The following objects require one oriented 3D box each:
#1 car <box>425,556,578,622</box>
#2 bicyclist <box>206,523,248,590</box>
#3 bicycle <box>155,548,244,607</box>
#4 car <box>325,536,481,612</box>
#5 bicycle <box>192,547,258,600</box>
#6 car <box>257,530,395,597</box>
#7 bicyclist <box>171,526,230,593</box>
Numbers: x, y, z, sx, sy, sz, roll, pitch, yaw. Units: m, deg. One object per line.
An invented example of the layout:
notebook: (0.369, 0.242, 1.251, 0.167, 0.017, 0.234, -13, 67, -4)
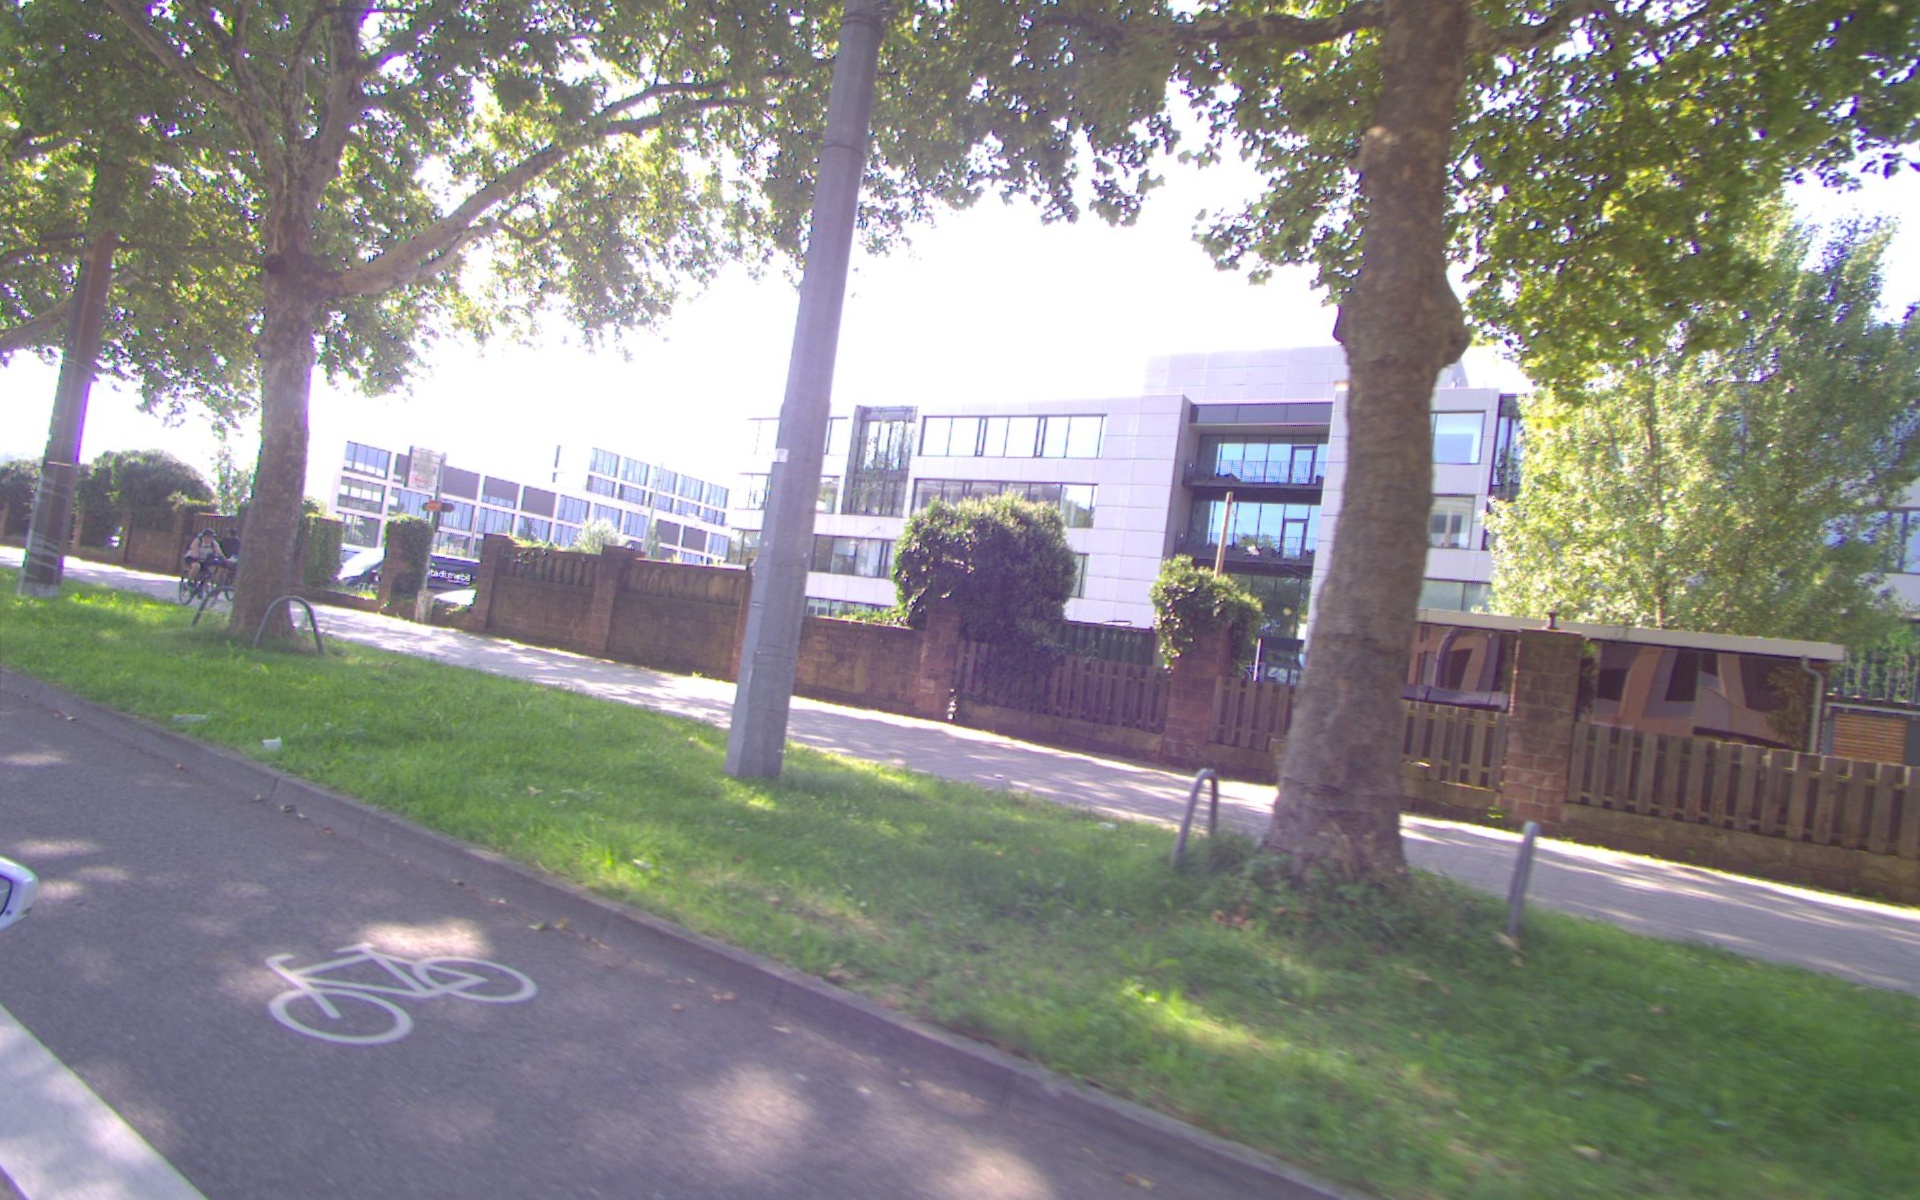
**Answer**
car: (-13.888, -0.279, 30.702, 1.478, 1.419, 3.997, 7, -3, 30)
bicyclist: (-18.302, -1.088, 25.126, 0.586, 1.557, 0.470, 7, -2, 29)
bicycle: (-16.245, -0.490, 21.470, 2.181, 1.017, 0.683, 7, -2, 31)
car: (-18.902, -0.833, 34.343, 1.535, 1.914, 4.284, 7, -3, 30)
bicycle: (-18.359, -0.669, 25.114, 1.825, 1.101, 0.492, 7, -2, 30)
car: (-23.859, -1.345, 38.016, 1.535, 1.863, 4.012, 7, -3, 30)
bicyclist: (-16.227, -0.863, 21.498, 0.716, 1.291, 0.670, 7, -1, 31)
